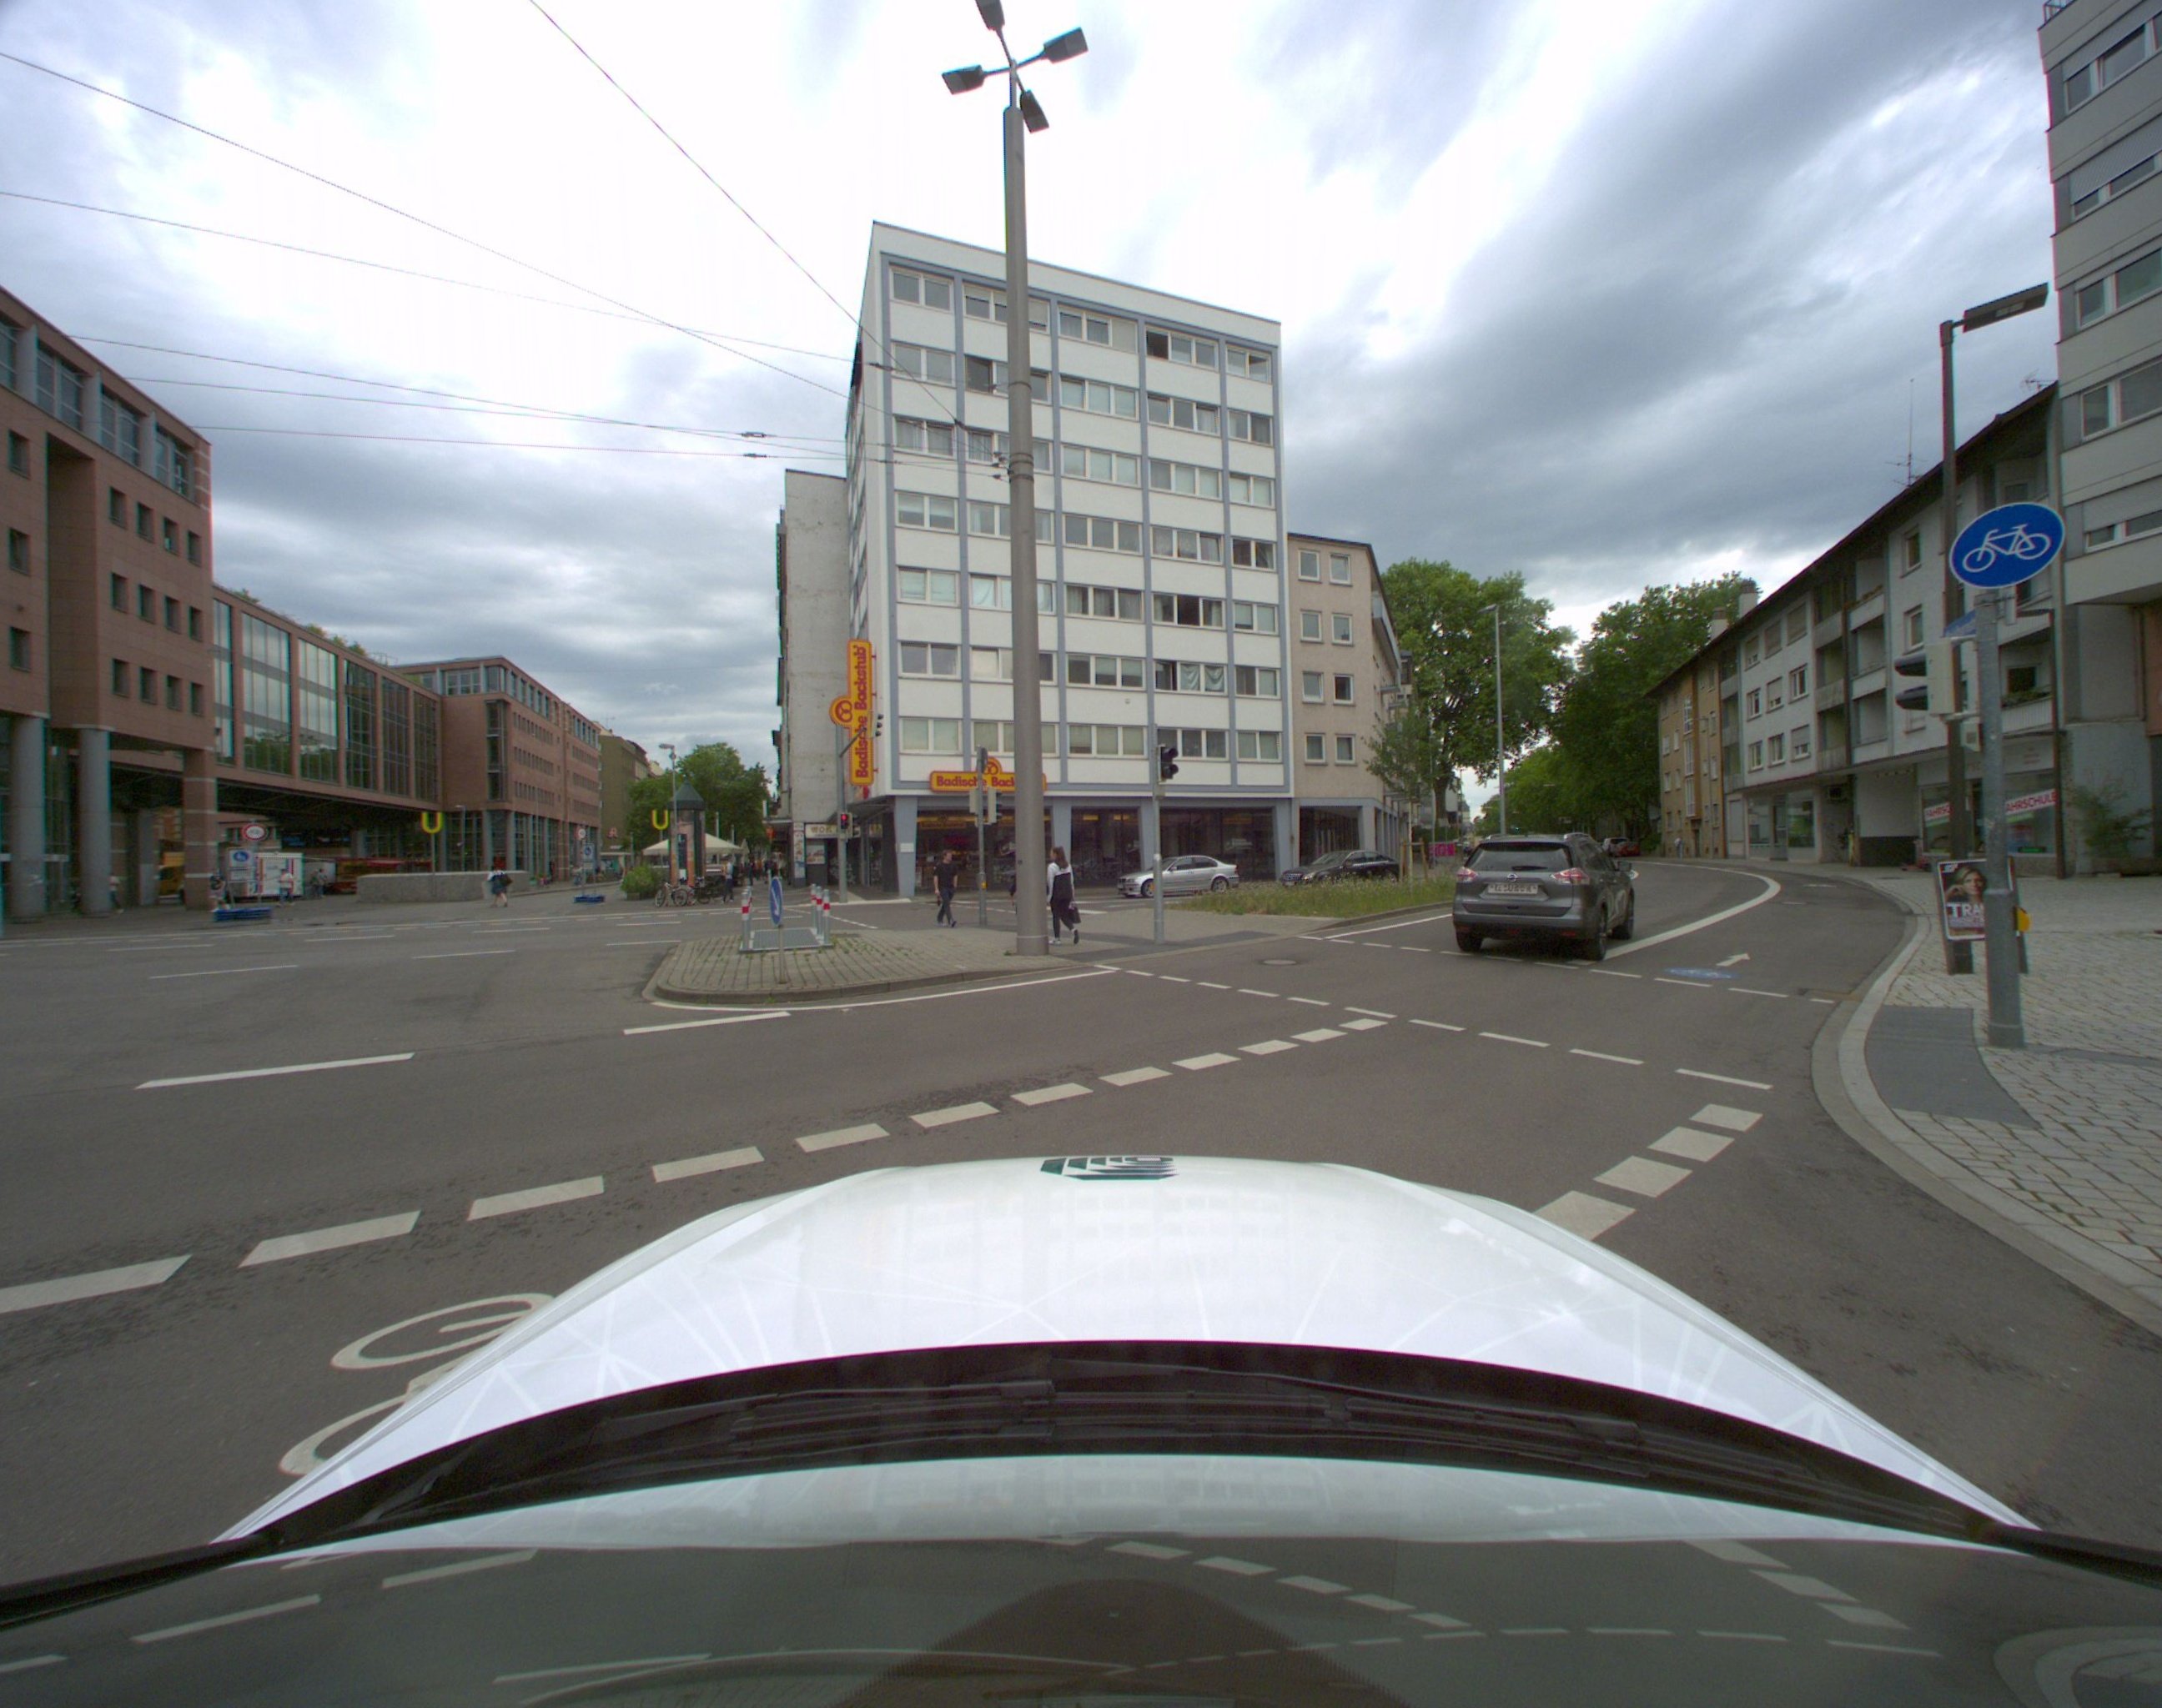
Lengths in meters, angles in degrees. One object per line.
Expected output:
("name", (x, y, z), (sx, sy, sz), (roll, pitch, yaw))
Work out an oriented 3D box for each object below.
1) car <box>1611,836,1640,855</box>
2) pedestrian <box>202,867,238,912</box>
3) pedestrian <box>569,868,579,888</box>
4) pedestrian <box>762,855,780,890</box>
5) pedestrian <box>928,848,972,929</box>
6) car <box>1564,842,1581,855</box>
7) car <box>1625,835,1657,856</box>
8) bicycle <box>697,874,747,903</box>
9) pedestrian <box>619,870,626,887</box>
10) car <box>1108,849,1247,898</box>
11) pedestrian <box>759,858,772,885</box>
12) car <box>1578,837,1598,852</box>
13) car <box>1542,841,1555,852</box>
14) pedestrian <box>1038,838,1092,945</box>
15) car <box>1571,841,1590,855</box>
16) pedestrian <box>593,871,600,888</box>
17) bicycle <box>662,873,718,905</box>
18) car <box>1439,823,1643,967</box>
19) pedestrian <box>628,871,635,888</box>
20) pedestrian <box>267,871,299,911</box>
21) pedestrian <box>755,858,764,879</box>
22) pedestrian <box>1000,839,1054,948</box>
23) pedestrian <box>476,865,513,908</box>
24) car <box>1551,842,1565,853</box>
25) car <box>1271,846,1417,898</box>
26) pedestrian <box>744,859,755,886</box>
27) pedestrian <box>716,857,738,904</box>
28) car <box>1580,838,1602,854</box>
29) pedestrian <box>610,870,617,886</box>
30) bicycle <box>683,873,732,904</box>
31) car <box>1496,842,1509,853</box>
("car", (53.172, -0.871, 79.601), (1.846, 1.774, 4.008), (0, 1, 27))
("pedestrian", (-36.026, 1.473, 34.088), (0.699, 1.842, 0.733), (0, -1, -5))
("pedestrian", (-39.256, 1.852, 63.010), (0.604, 1.536, 0.649), (0, -1, -28))
("pedestrian", (-15.453, 0.919, 40.607), (0.709, 1.705, 0.732), (0, -1, -8))
("pedestrian", (-3.054, 0.776, 18.880), (0.717, 1.832, 1.007), (0, -1, -28))
("car", (71.939, -0.828, 119.151), (1.846, 1.774, 4.008), (0, 1, 27))
("car", (49.805, -0.773, 72.525), (1.846, 1.774, 4.008), (0, 1, 27))
("bicycle", (-13.807, 1.312, 31.325), (1.698, 1.065, 0.435), (0, -1, -15))
("pedestrian", (-45.044, 2.397, 80.061), (0.604, 1.714, 0.649), (0, -1, -28))
("car", (3.388, 0.647, 28.633), (4.572, 1.481, 1.735), (-2, 0, -23))
("pedestrian", (-21.254, 1.163, 54.831), (0.741, 1.821, 0.657), (-1, 0, -23))
("car", (64.146, -1.201, 103.080), (1.846, 1.774, 4.008), (0, 1, 27))
("car", (83.064, -1.356, 144.659), (1.846, 1.774, 4.008), (0, 1, 27))
("pedestrian", (-0.285, 0.624, 13.880), (0.625, 1.761, 0.772), (0, -1, -28))
("car", (66.197, -0.848, 107.937), (1.846, 1.774, 4.008), (0, 1, 27))
("pedestrian", (-49.087, 2.576, 82.551), (0.604, 1.714, 0.649), (0, -1, -28))
("bicycle", (-14.861, 1.318, 30.971), (1.881, 1.172, 0.525), (0, -1, -35))
("car", (7.132, 0.455, 12.376), (1.845, 1.774, 4.595), (0, 1, 41))
("pedestrian", (-44.473, 2.520, 80.625), (0.604, 1.714, 0.649), (0, -1, -28))
("pedestrian", (-36.814, 1.695, 37.575), (0.698, 1.842, 0.734), (0, -1, -1))
("pedestrian", (-25.567, 1.161, 64.709), (0.613, 1.705, 0.615), (0, -1, -20))
("pedestrian", (-0.907, 0.642, 13.626), (0.625, 1.761, 0.772), (0, -1, -28))
("pedestrian", (-23.411, 1.282, 32.504), (0.923, 1.705, 0.734), (0, -1, -1))
("car", (78.302, -1.129, 133.728), (1.846, 1.774, 4.008), (0, 1, 27))
("car", (8.731, 0.557, 26.981), (4.572, 1.481, 1.735), (-2, 0, -23))
("pedestrian", (-21.290, 1.193, 52.337), (0.645, 1.705, 0.555), (0, -1, -20))
("pedestrian", (-13.511, 0.996, 31.067), (0.736, 1.746, 0.657), (0, -1, -29))
("car", (58.838, -0.920, 93.999), (1.846, 1.774, 4.008), (0, 1, 27))
("pedestrian", (-52.914, 2.704, 92.180), (0.604, 1.714, 0.649), (0, -1, -28))
("bicycle", (-14.559, 1.323, 31.754), (1.705, 1.172, 0.433), (0, -1, -28))
("car", (67.303, -1.048, 130.090), (1.846, 1.774, 4.008), (0, 1, 27))
